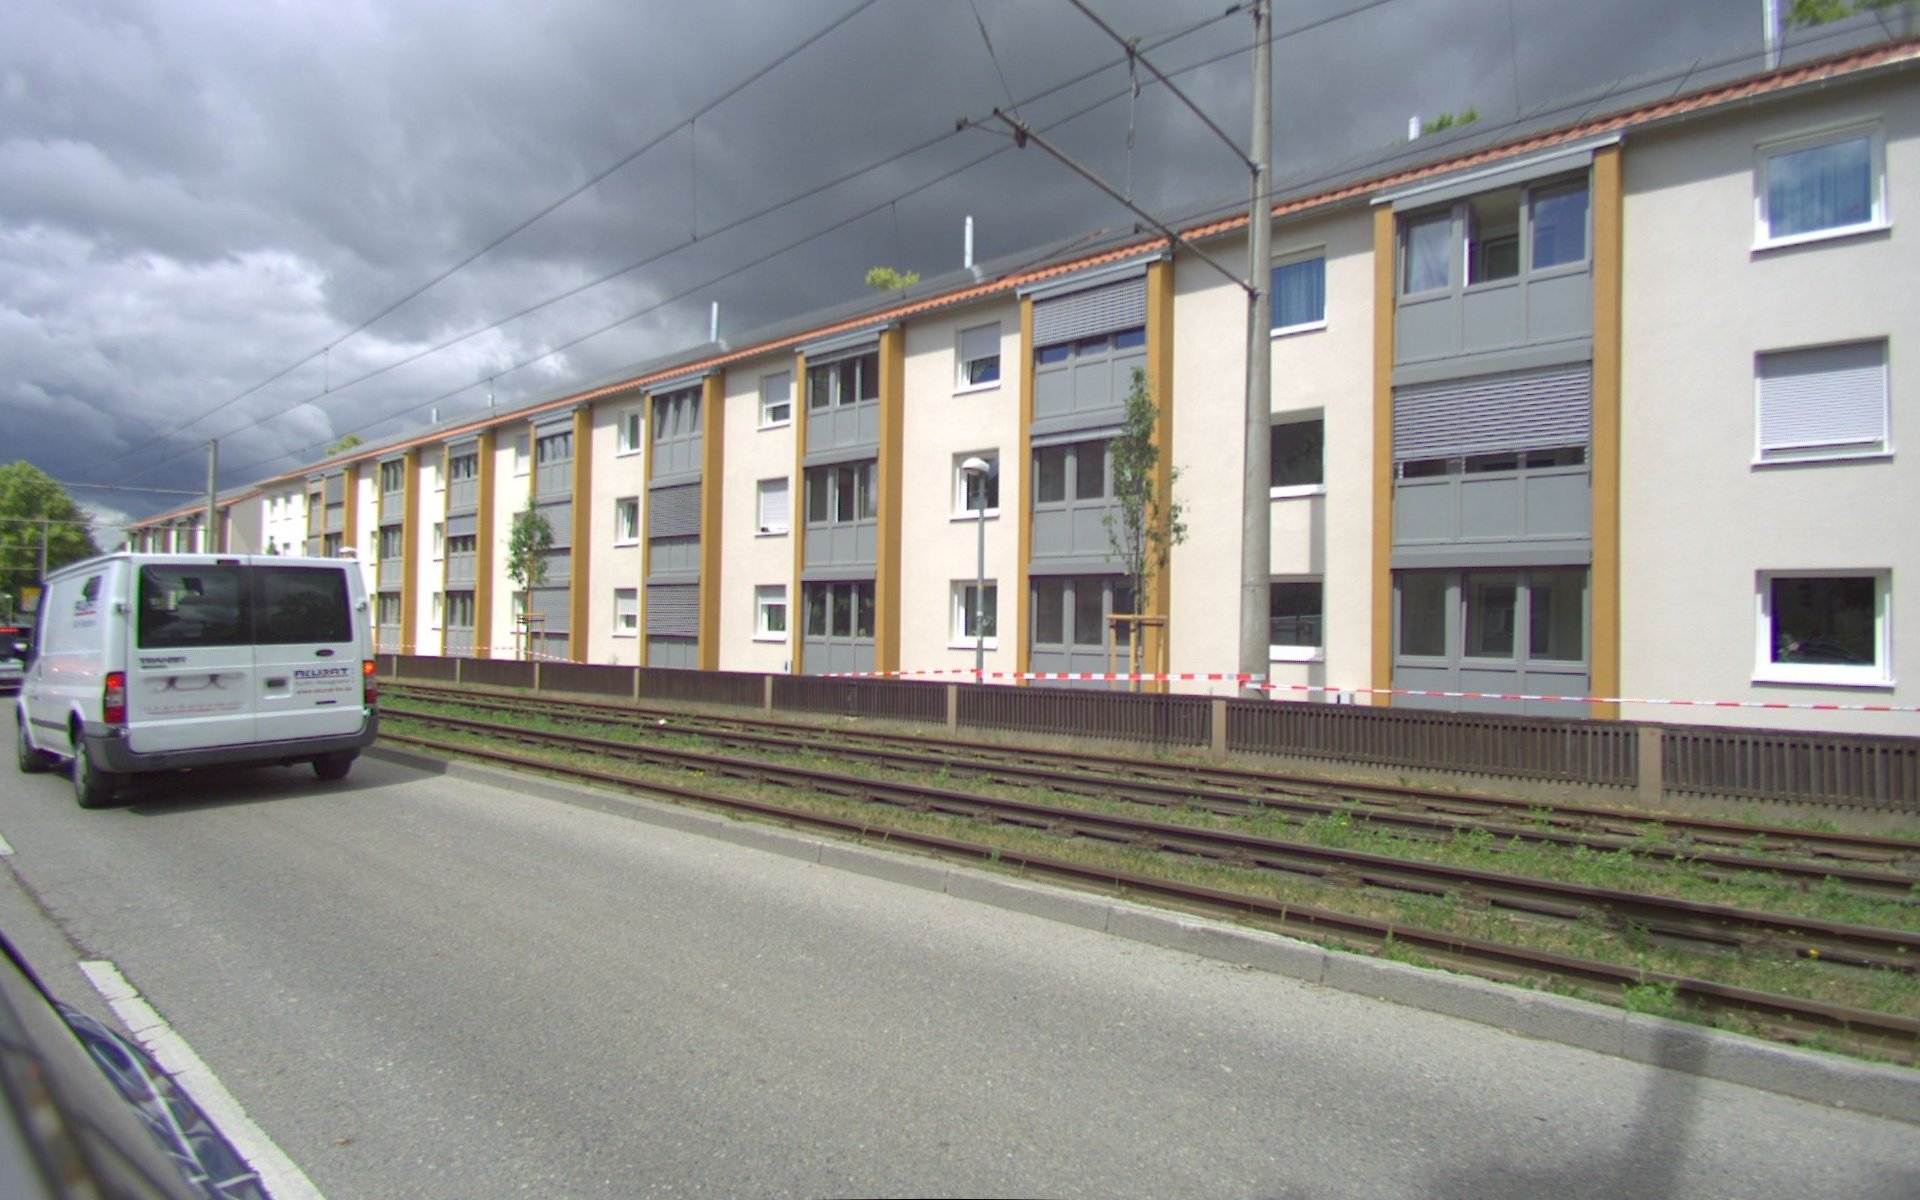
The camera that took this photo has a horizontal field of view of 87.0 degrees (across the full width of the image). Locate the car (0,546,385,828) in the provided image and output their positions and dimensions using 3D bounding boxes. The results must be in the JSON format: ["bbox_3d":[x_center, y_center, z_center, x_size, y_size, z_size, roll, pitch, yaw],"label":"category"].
[{"bbox_3d":[-7.436,0.667,9.539,4.782,2.011,1.973,-1,-1,40],"label":"car"}]

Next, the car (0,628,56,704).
[{"bbox_3d":[-19.817,1.311,20.726,3.647,1.424,1.592,-1,0,42],"label":"car"}]
